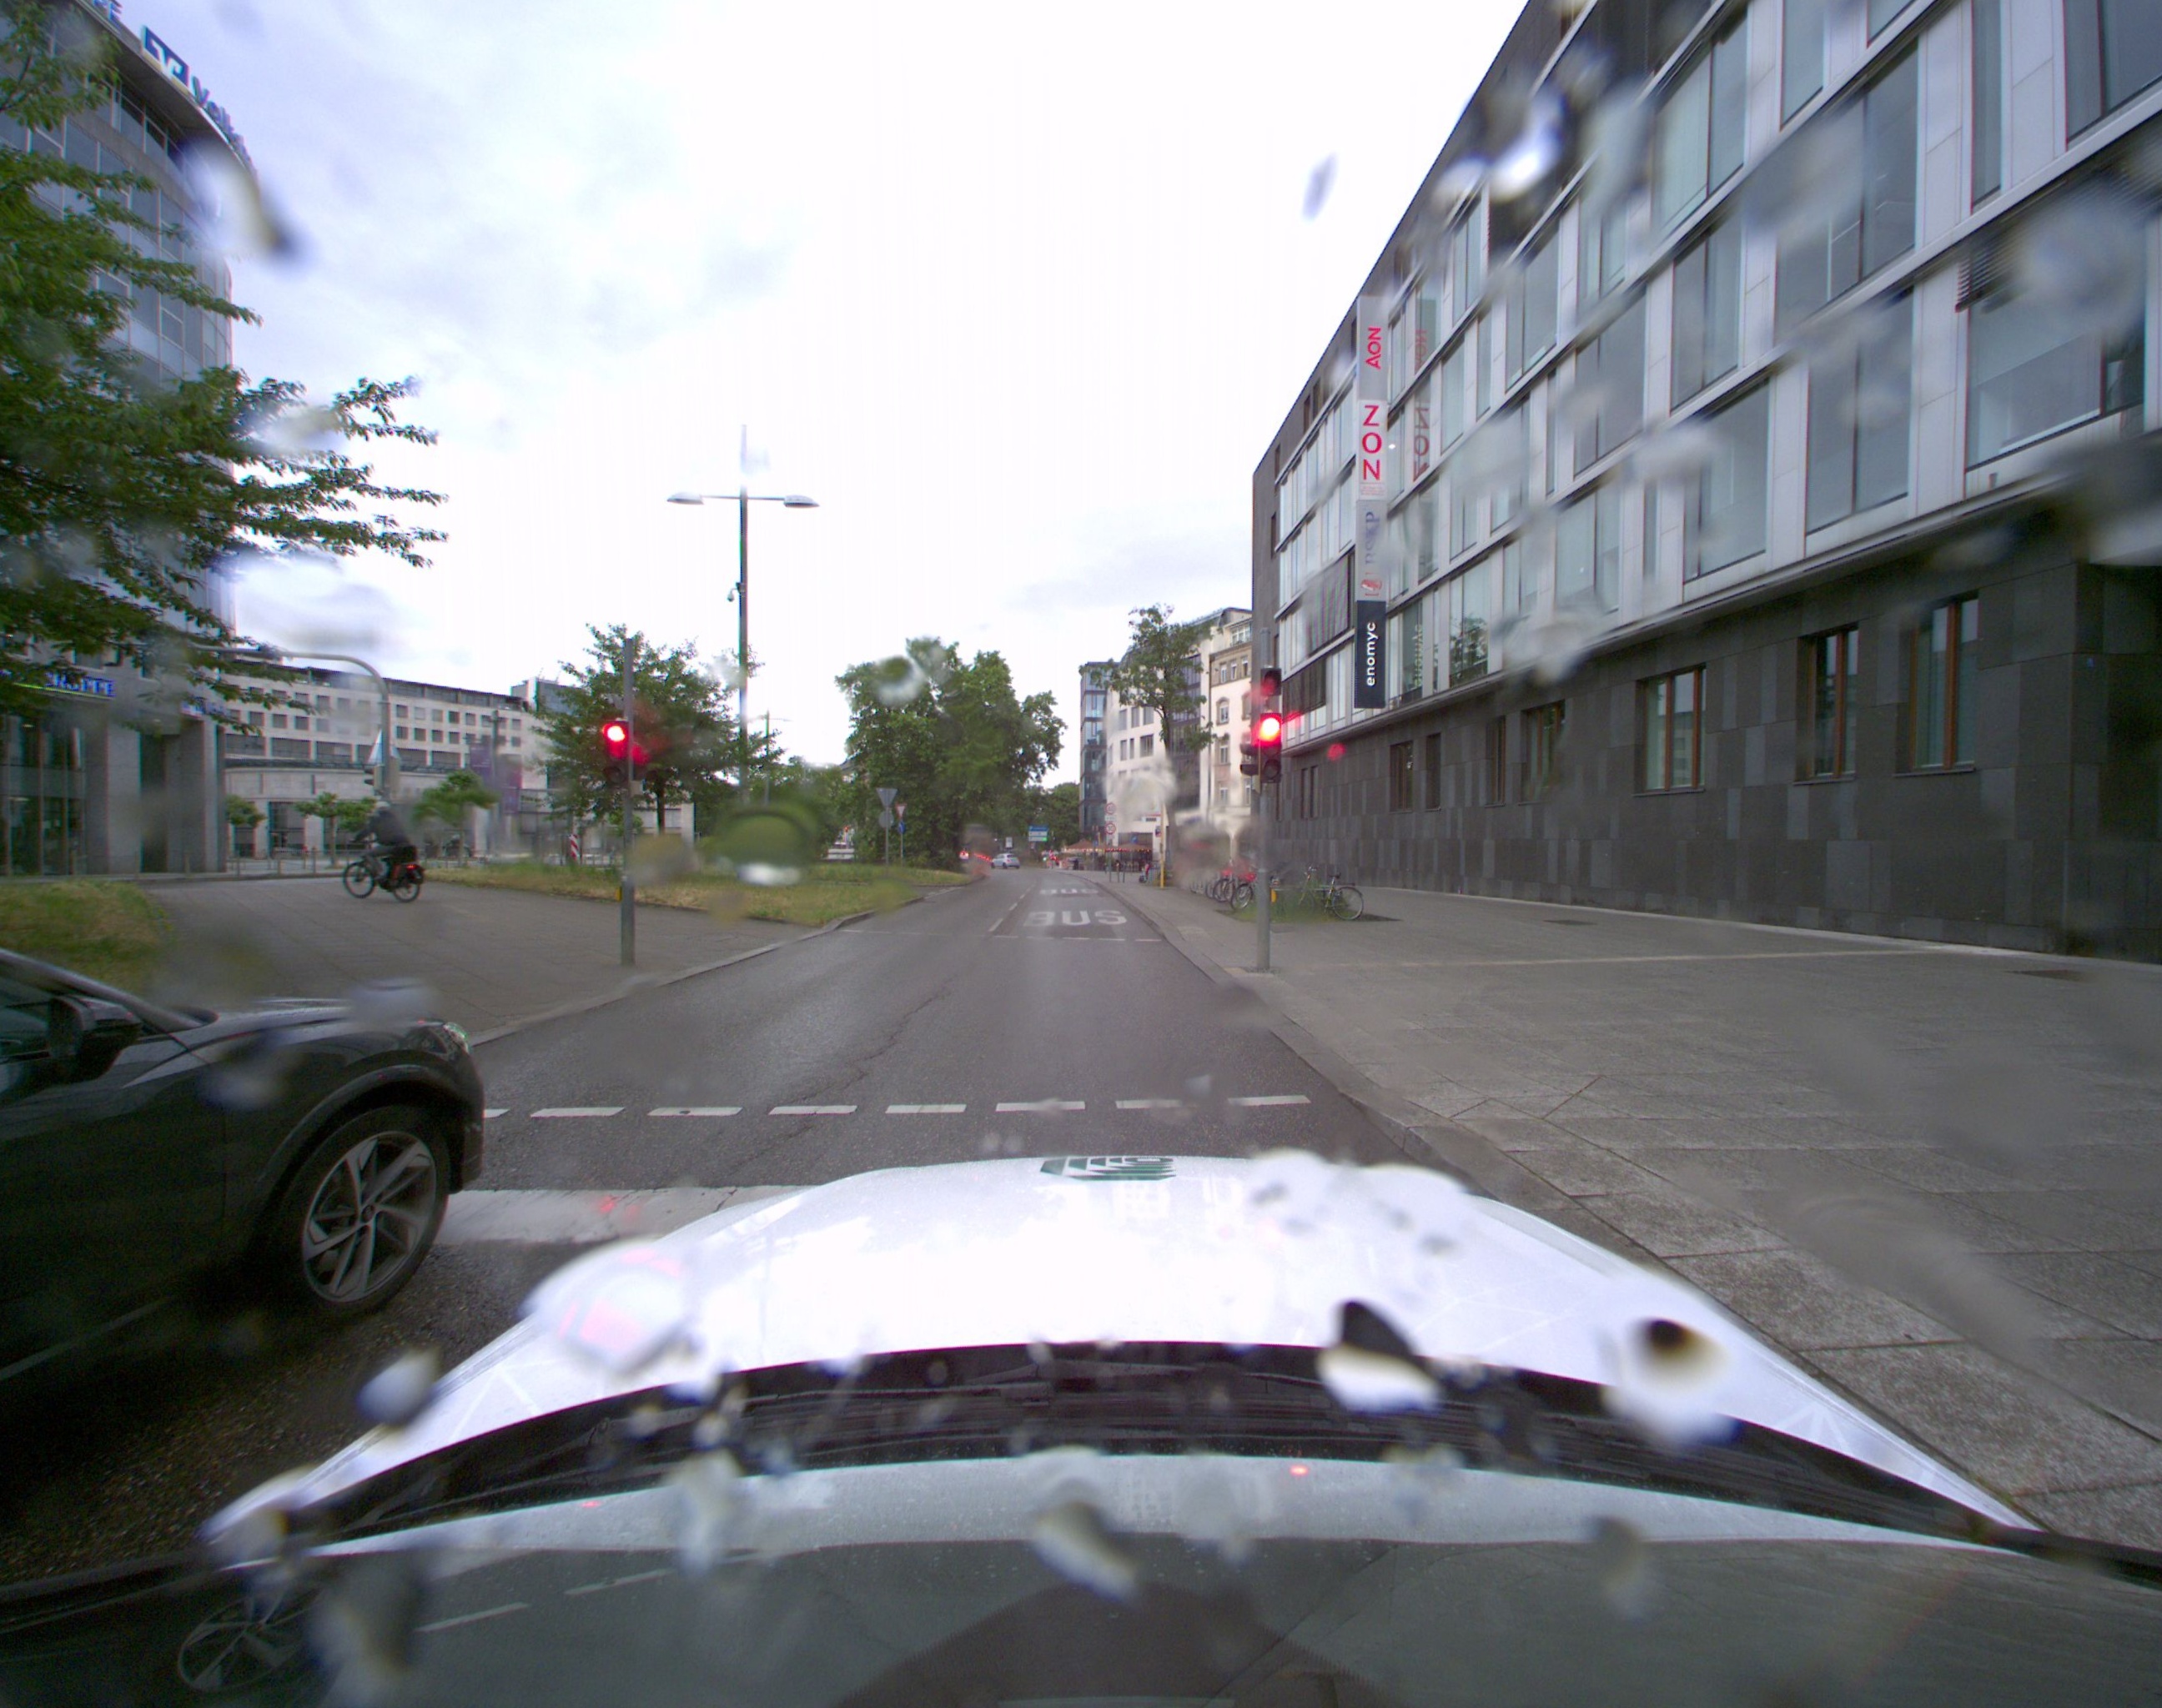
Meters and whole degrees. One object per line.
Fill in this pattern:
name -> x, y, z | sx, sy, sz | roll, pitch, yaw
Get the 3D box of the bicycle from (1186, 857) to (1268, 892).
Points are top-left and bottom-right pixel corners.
bicycle -> 4.722, 0.667, 26.443 | 2.530, 1.087, 0.677 | -1, 0, -3

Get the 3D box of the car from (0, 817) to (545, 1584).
car -> -3.177, 0.721, 1.340 | 1.843, 1.616, 4.249 | 1, 1, -2

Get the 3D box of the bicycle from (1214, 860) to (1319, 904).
bicycle -> 4.724, 0.700, 20.838 | 2.530, 1.087, 0.677 | -1, 0, -3

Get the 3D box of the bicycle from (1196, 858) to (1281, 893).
bicycle -> 4.934, 0.667, 25.598 | 2.530, 1.087, 0.677 | -1, 0, -3

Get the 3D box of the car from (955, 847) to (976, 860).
car -> -15.660, -0.047, 110.304 | 2.186, 1.700, 3.974 | 0, 0, -19

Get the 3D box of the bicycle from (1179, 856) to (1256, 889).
bicycle -> 4.685, 0.640, 28.086 | 2.530, 1.087, 0.677 | -1, 0, -3

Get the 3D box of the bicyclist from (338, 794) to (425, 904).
bicyclist -> -13.866, -0.106, 16.164 | 1.074, 2.082, 0.766 | 3, 1, 13

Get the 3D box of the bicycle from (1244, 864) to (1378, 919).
bicycle -> 4.631, 0.744, 16.476 | 2.530, 1.057, 0.677 | 0, 0, -3

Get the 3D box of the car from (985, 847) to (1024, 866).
car -> -7.770, 0.247, 82.622 | 2.009, 1.647, 3.956 | 4, 0, -38

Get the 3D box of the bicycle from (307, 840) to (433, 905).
bicycle -> -14.157, 0.343, 16.229 | 2.111, 1.145, 0.766 | 3, 1, 13

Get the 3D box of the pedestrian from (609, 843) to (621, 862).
pedestrian -> -50.688, -0.121, 88.566 | 0.787, 2.014, 0.739 | 2, 0, -5

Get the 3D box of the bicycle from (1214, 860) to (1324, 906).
bicycle -> 4.598, 0.700, 19.986 | 2.530, 1.087, 0.677 | -1, 0, -3

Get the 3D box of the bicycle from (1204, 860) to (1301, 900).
bicycle -> 4.726, 0.698, 22.516 | 2.530, 1.060, 0.677 | -1, 0, -3

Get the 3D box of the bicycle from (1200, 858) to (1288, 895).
bicycle -> 4.914, 0.668, 24.619 | 2.530, 1.087, 0.677 | -1, 0, -3

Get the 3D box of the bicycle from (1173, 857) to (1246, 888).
bicycle -> 4.649, 0.663, 29.557 | 2.530, 1.087, 0.627 | -1, 0, -3

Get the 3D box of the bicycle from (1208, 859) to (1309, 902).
bicycle -> 4.693, 0.696, 21.650 | 2.530, 1.087, 0.677 | -1, 0, -3

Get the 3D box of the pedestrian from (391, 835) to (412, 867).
pedestrian -> -37.971, -0.164, 45.511 | 0.622, 1.763, 0.721 | -2, 0, -20

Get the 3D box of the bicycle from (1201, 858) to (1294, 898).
bicycle -> 4.784, 0.683, 23.425 | 2.530, 1.087, 0.677 | -1, 0, -3

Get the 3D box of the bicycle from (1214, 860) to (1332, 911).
bicycle -> 4.400, 0.718, 18.764 | 2.530, 1.087, 0.677 | 2, 0, -3

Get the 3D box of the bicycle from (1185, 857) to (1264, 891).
bicycle -> 4.780, 0.651, 27.194 | 2.530, 1.087, 0.677 | -1, 0, -3

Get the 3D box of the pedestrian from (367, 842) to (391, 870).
pedestrian -> -38.818, 0.119, 45.044 | 0.730, 1.516, 0.687 | -2, 0, -19

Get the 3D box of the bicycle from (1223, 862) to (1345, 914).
bicycle -> 4.451, 0.736, 17.959 | 2.530, 1.087, 0.677 | 0, 0, -3

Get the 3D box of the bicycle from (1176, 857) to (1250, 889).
bicycle -> 4.662, 0.653, 28.834 | 2.530, 1.087, 0.677 | -1, 0, -3
